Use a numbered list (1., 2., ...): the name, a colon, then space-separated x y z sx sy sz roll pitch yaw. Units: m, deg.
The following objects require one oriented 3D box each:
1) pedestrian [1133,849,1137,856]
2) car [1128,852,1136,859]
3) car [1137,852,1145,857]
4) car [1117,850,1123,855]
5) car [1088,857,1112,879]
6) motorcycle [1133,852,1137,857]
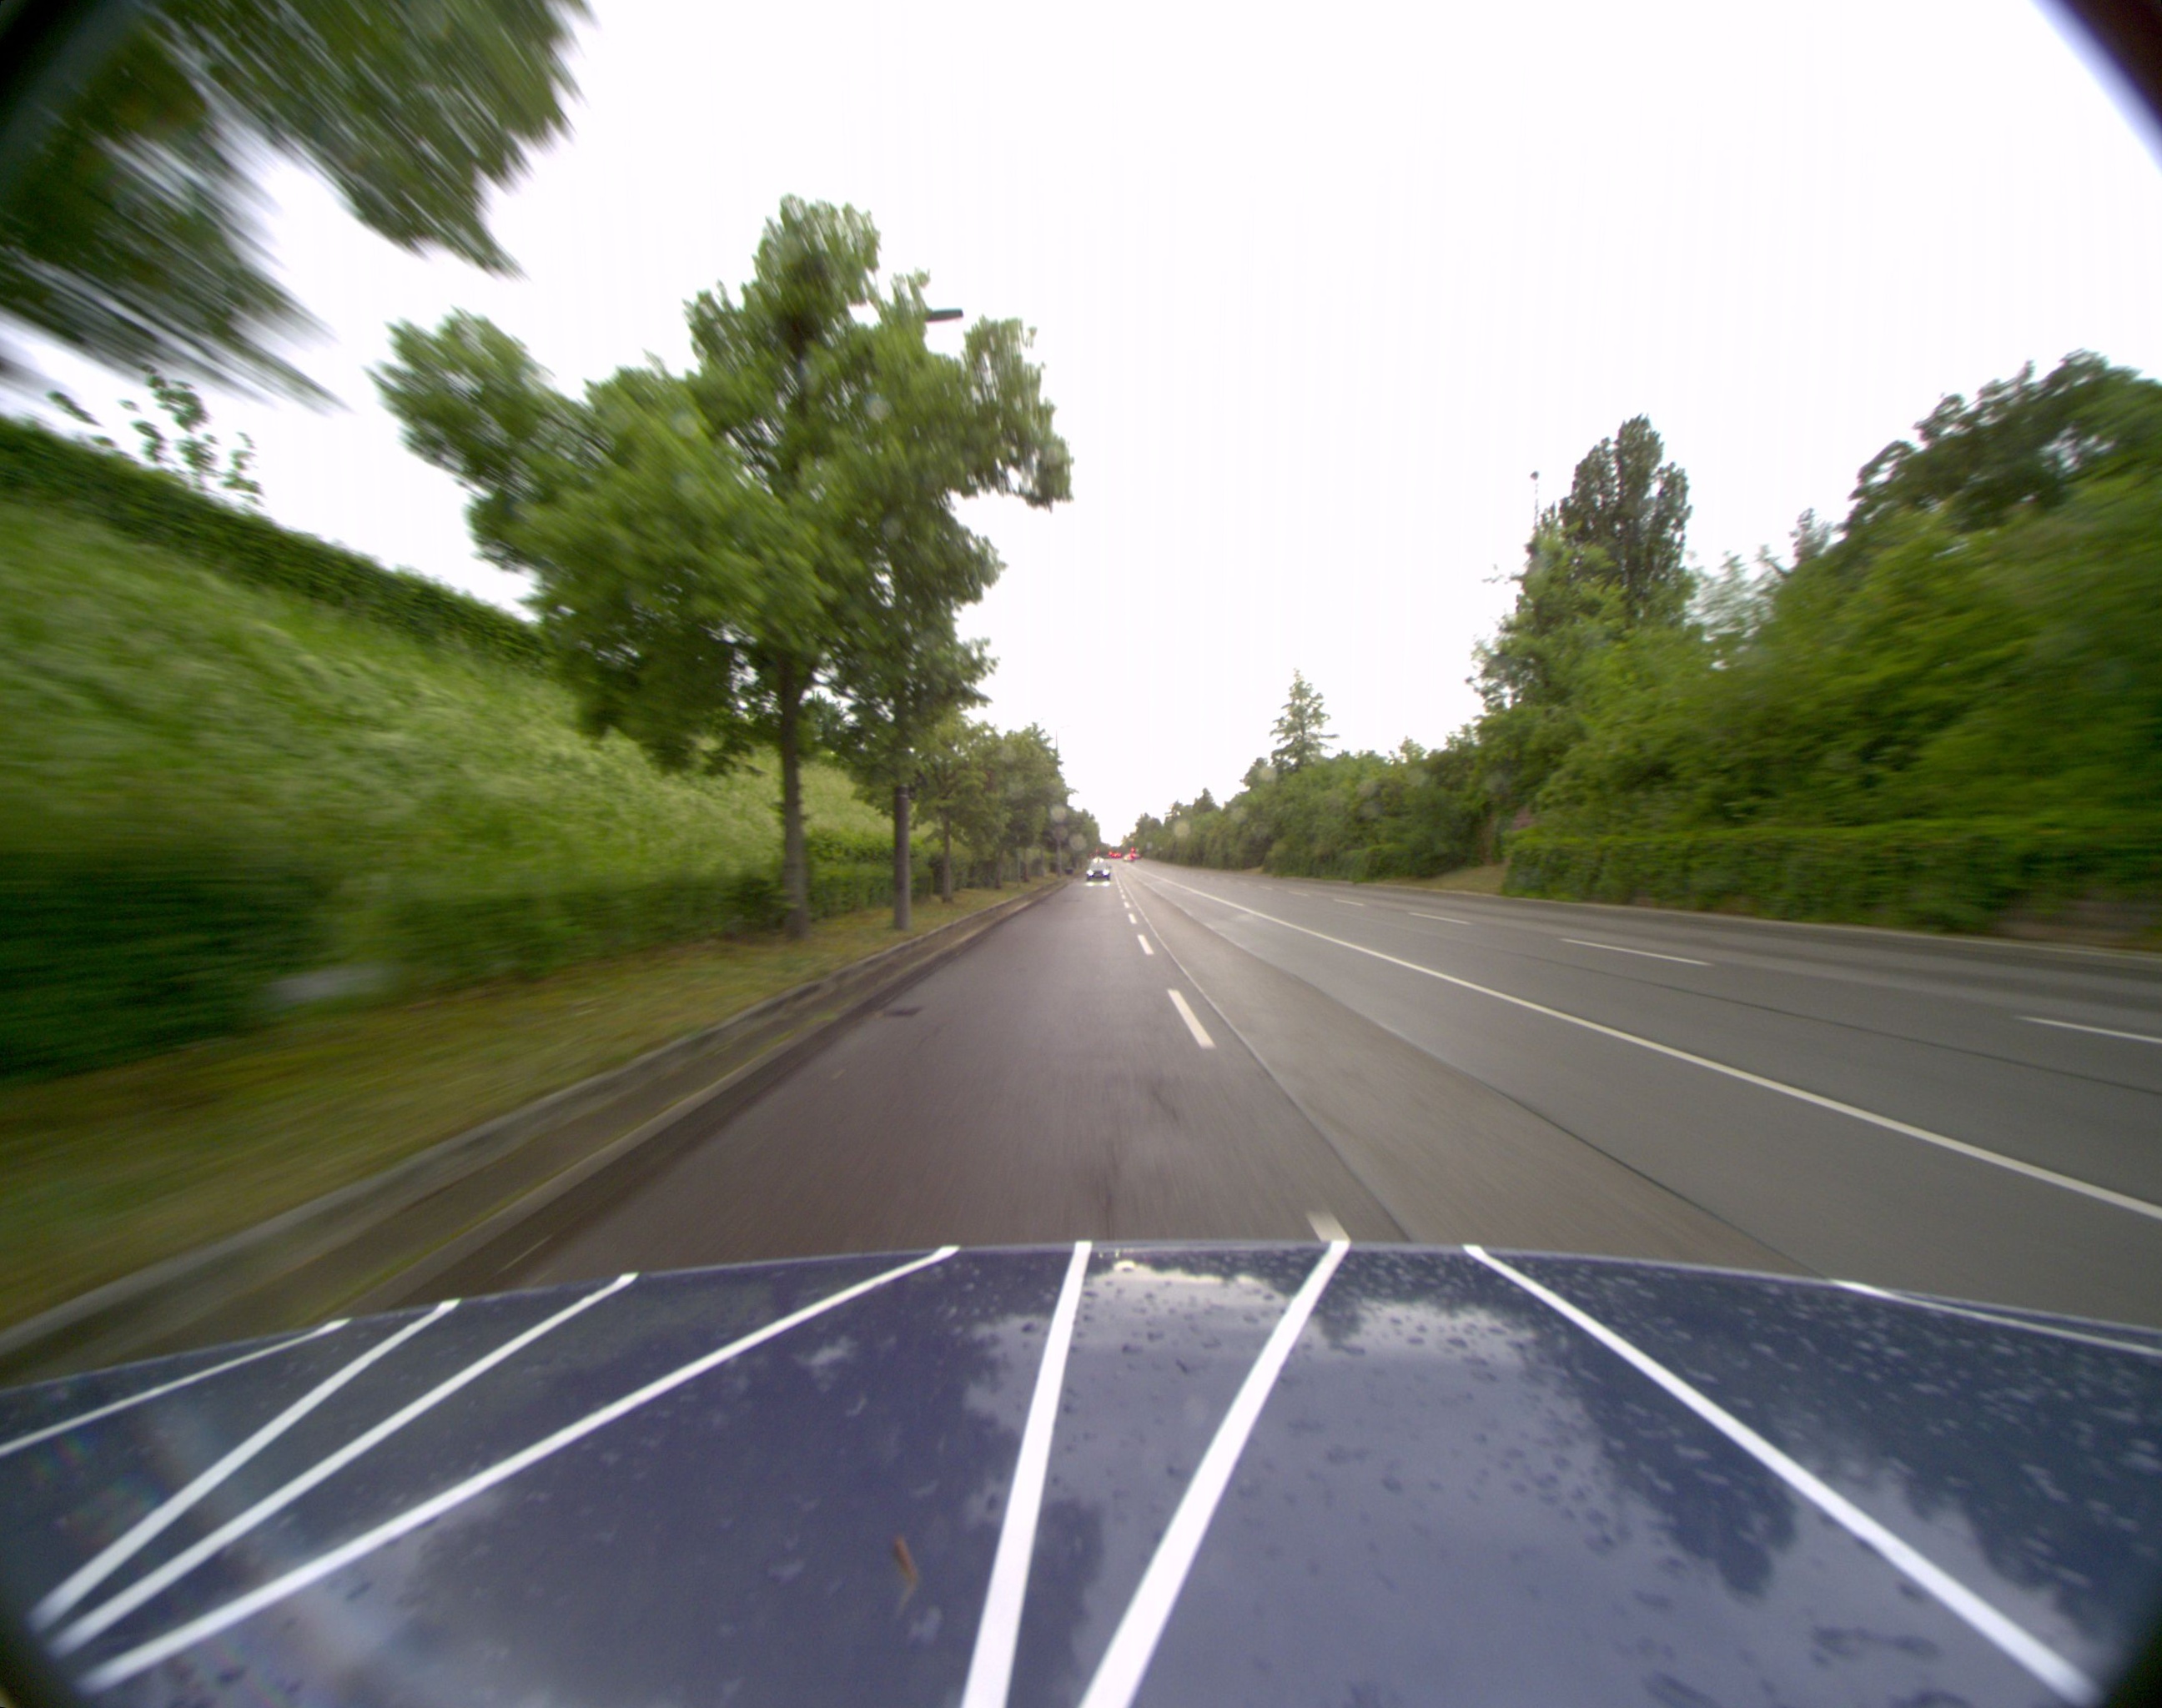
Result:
1. pedestrian: 12.000 -0.259 170.270 0.807 1.532 1.111 -2 1 2
2. car: 12.181 0.318 182.865 1.719 1.496 4.517 -3 0 3
3. car: 16.591 0.199 210.637 1.764 1.373 4.839 -3 0 2
4. car: 13.267 -0.529 255.977 1.816 1.648 4.595 -2 0 2
5. car: 1.438 1.024 59.106 1.738 1.577 4.285 -2 0 -1
6. motorcycle: 12.014 0.090 170.293 0.807 1.124 2.231 -2 0 2
